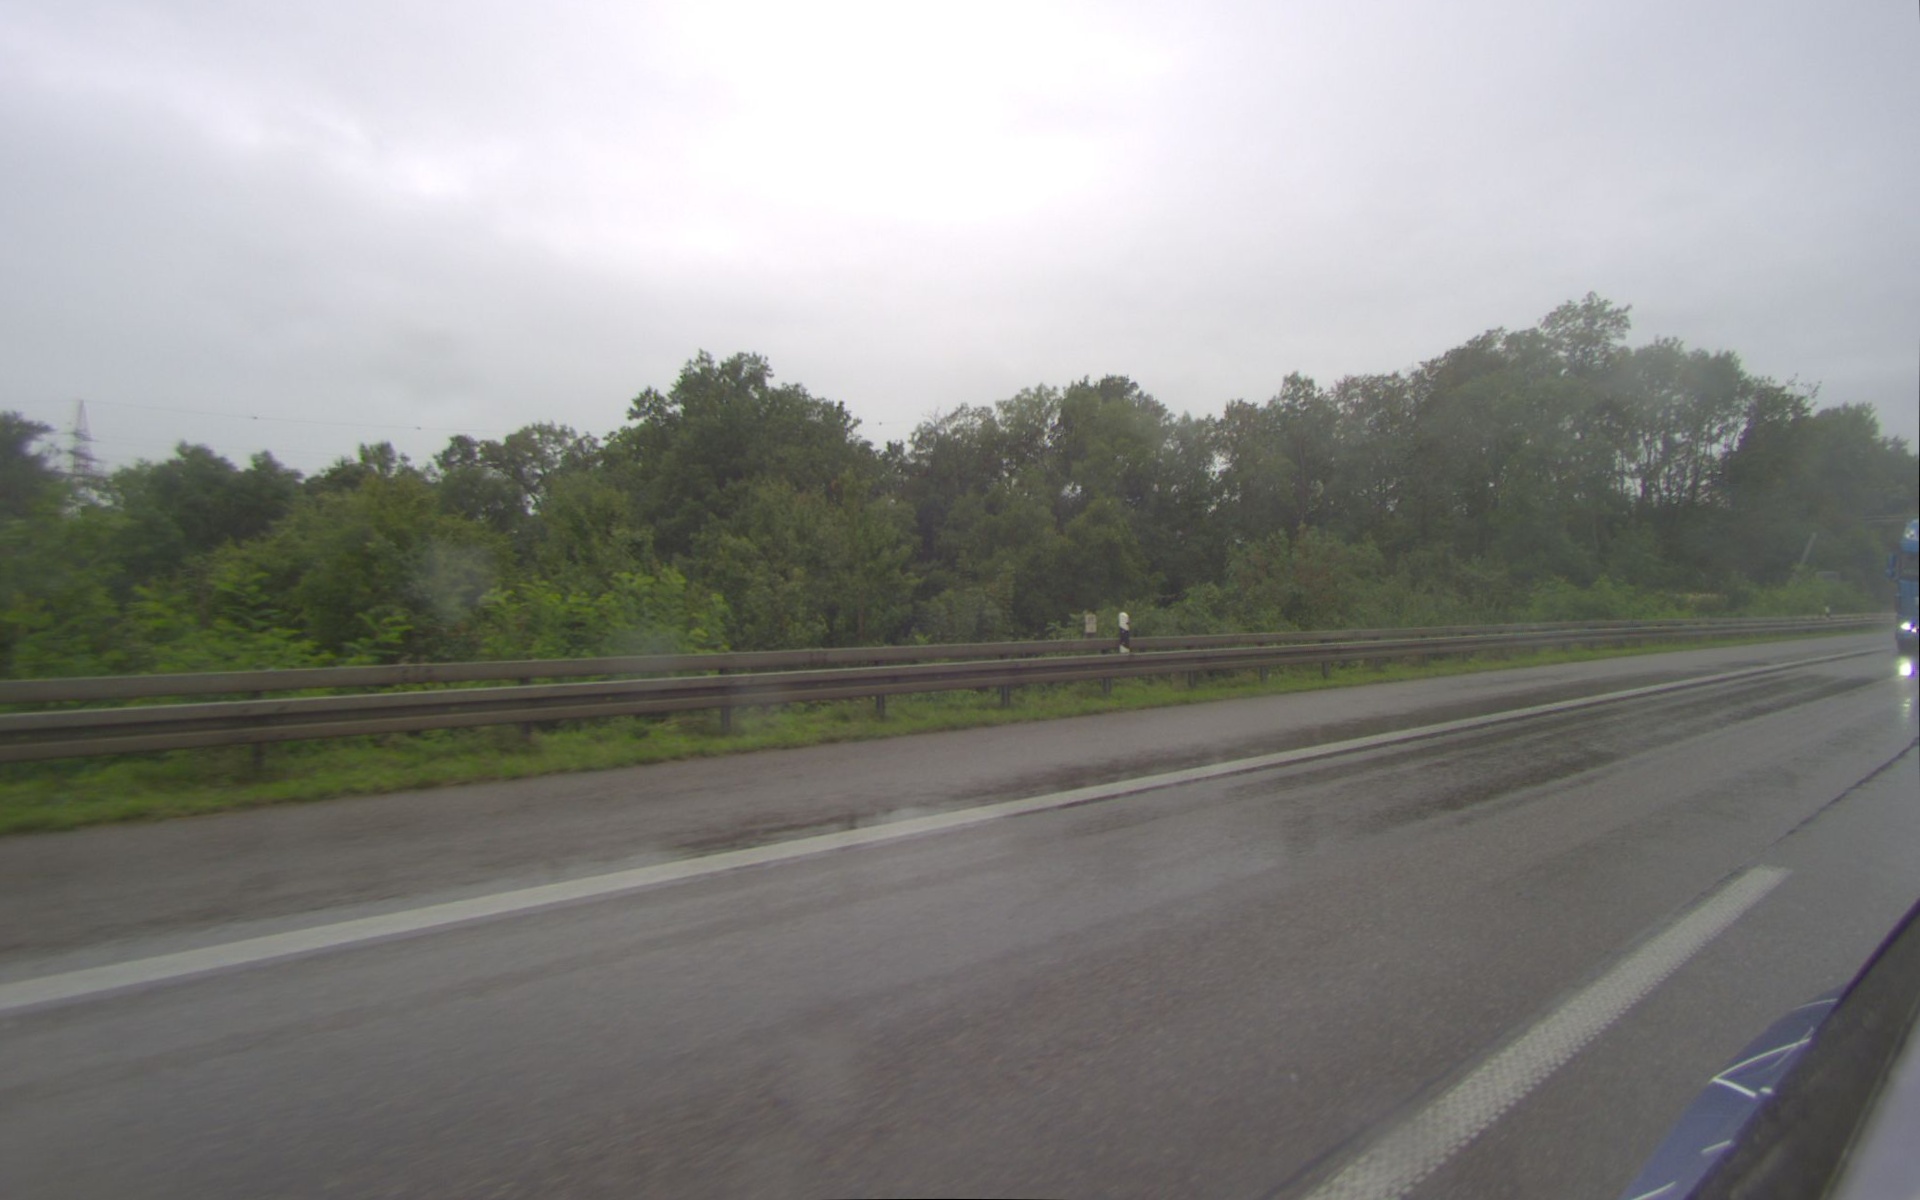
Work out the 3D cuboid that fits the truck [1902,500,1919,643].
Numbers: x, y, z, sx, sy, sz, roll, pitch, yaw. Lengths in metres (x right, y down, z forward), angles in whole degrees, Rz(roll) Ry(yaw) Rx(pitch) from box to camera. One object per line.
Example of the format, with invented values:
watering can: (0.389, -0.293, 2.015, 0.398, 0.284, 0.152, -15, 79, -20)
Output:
truck: (30.663, -0.830, 30.280, 6.366, 4.129, 2.755, 0, 1, -39)
